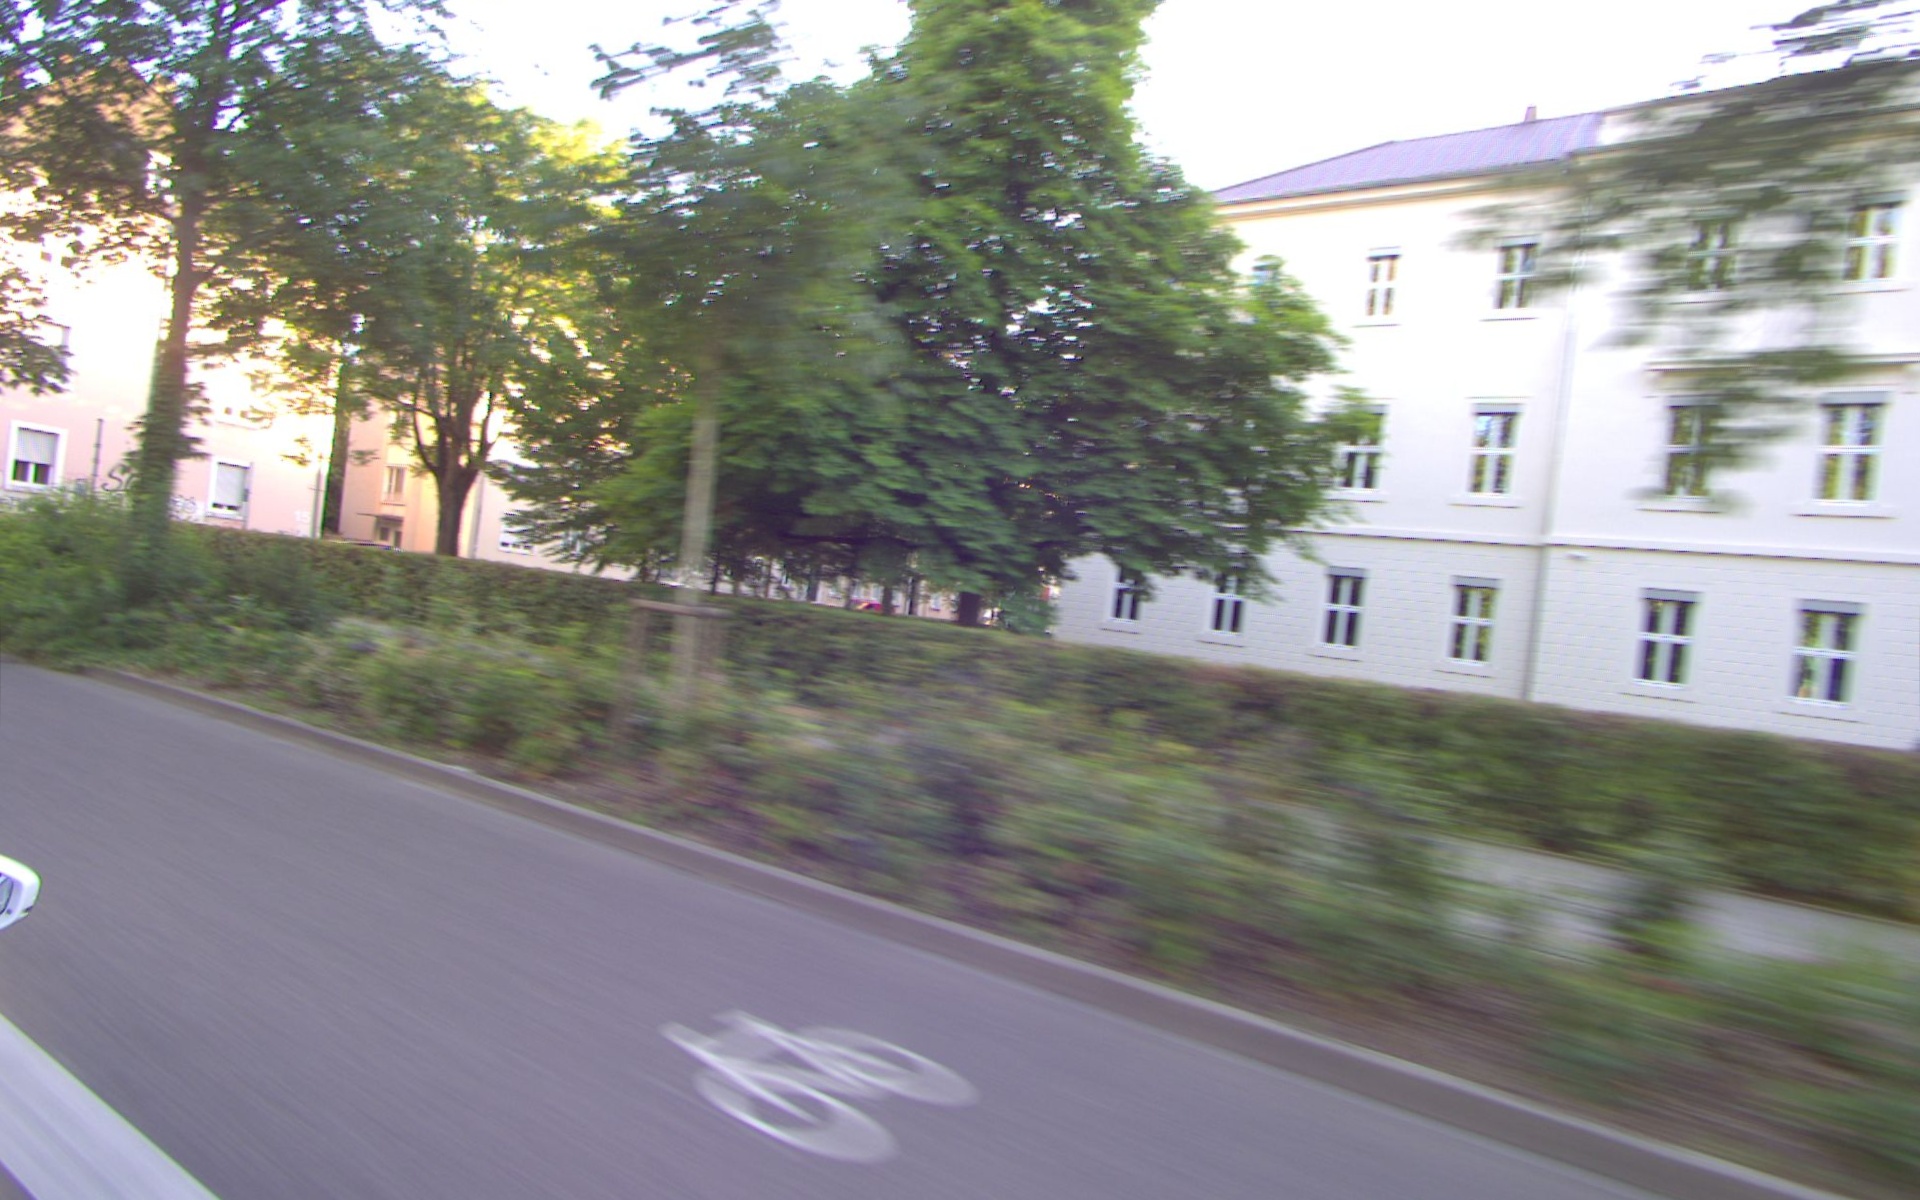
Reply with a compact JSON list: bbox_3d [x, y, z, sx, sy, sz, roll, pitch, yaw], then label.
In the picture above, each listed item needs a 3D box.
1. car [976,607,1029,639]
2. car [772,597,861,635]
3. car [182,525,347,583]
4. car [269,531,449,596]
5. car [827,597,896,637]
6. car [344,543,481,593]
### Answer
[{"bbox_3d":[3.331,1.833,78.403,1.841,2.166,4.528,7,1,34],"label":"car"},{"bbox_3d":[-6.911,0.808,48.809,1.840,1.500,4.243,7,1,33],"label":"car"},{"bbox_3d":[-23.848,-1.533,34.646,1.840,1.500,4.243,7,1,33],"label":"car"},{"bbox_3d":[-18.013,-1.057,30.340,1.840,1.500,4.243,7,1,33],"label":"car"},{"bbox_3d":[-6.151,1.084,63.301,1.841,2.166,4.241,7,1,34],"label":"car"},{"bbox_3d":[-21.194,-1.210,39.108,1.841,1.500,4.241,7,1,34],"label":"car"}]
